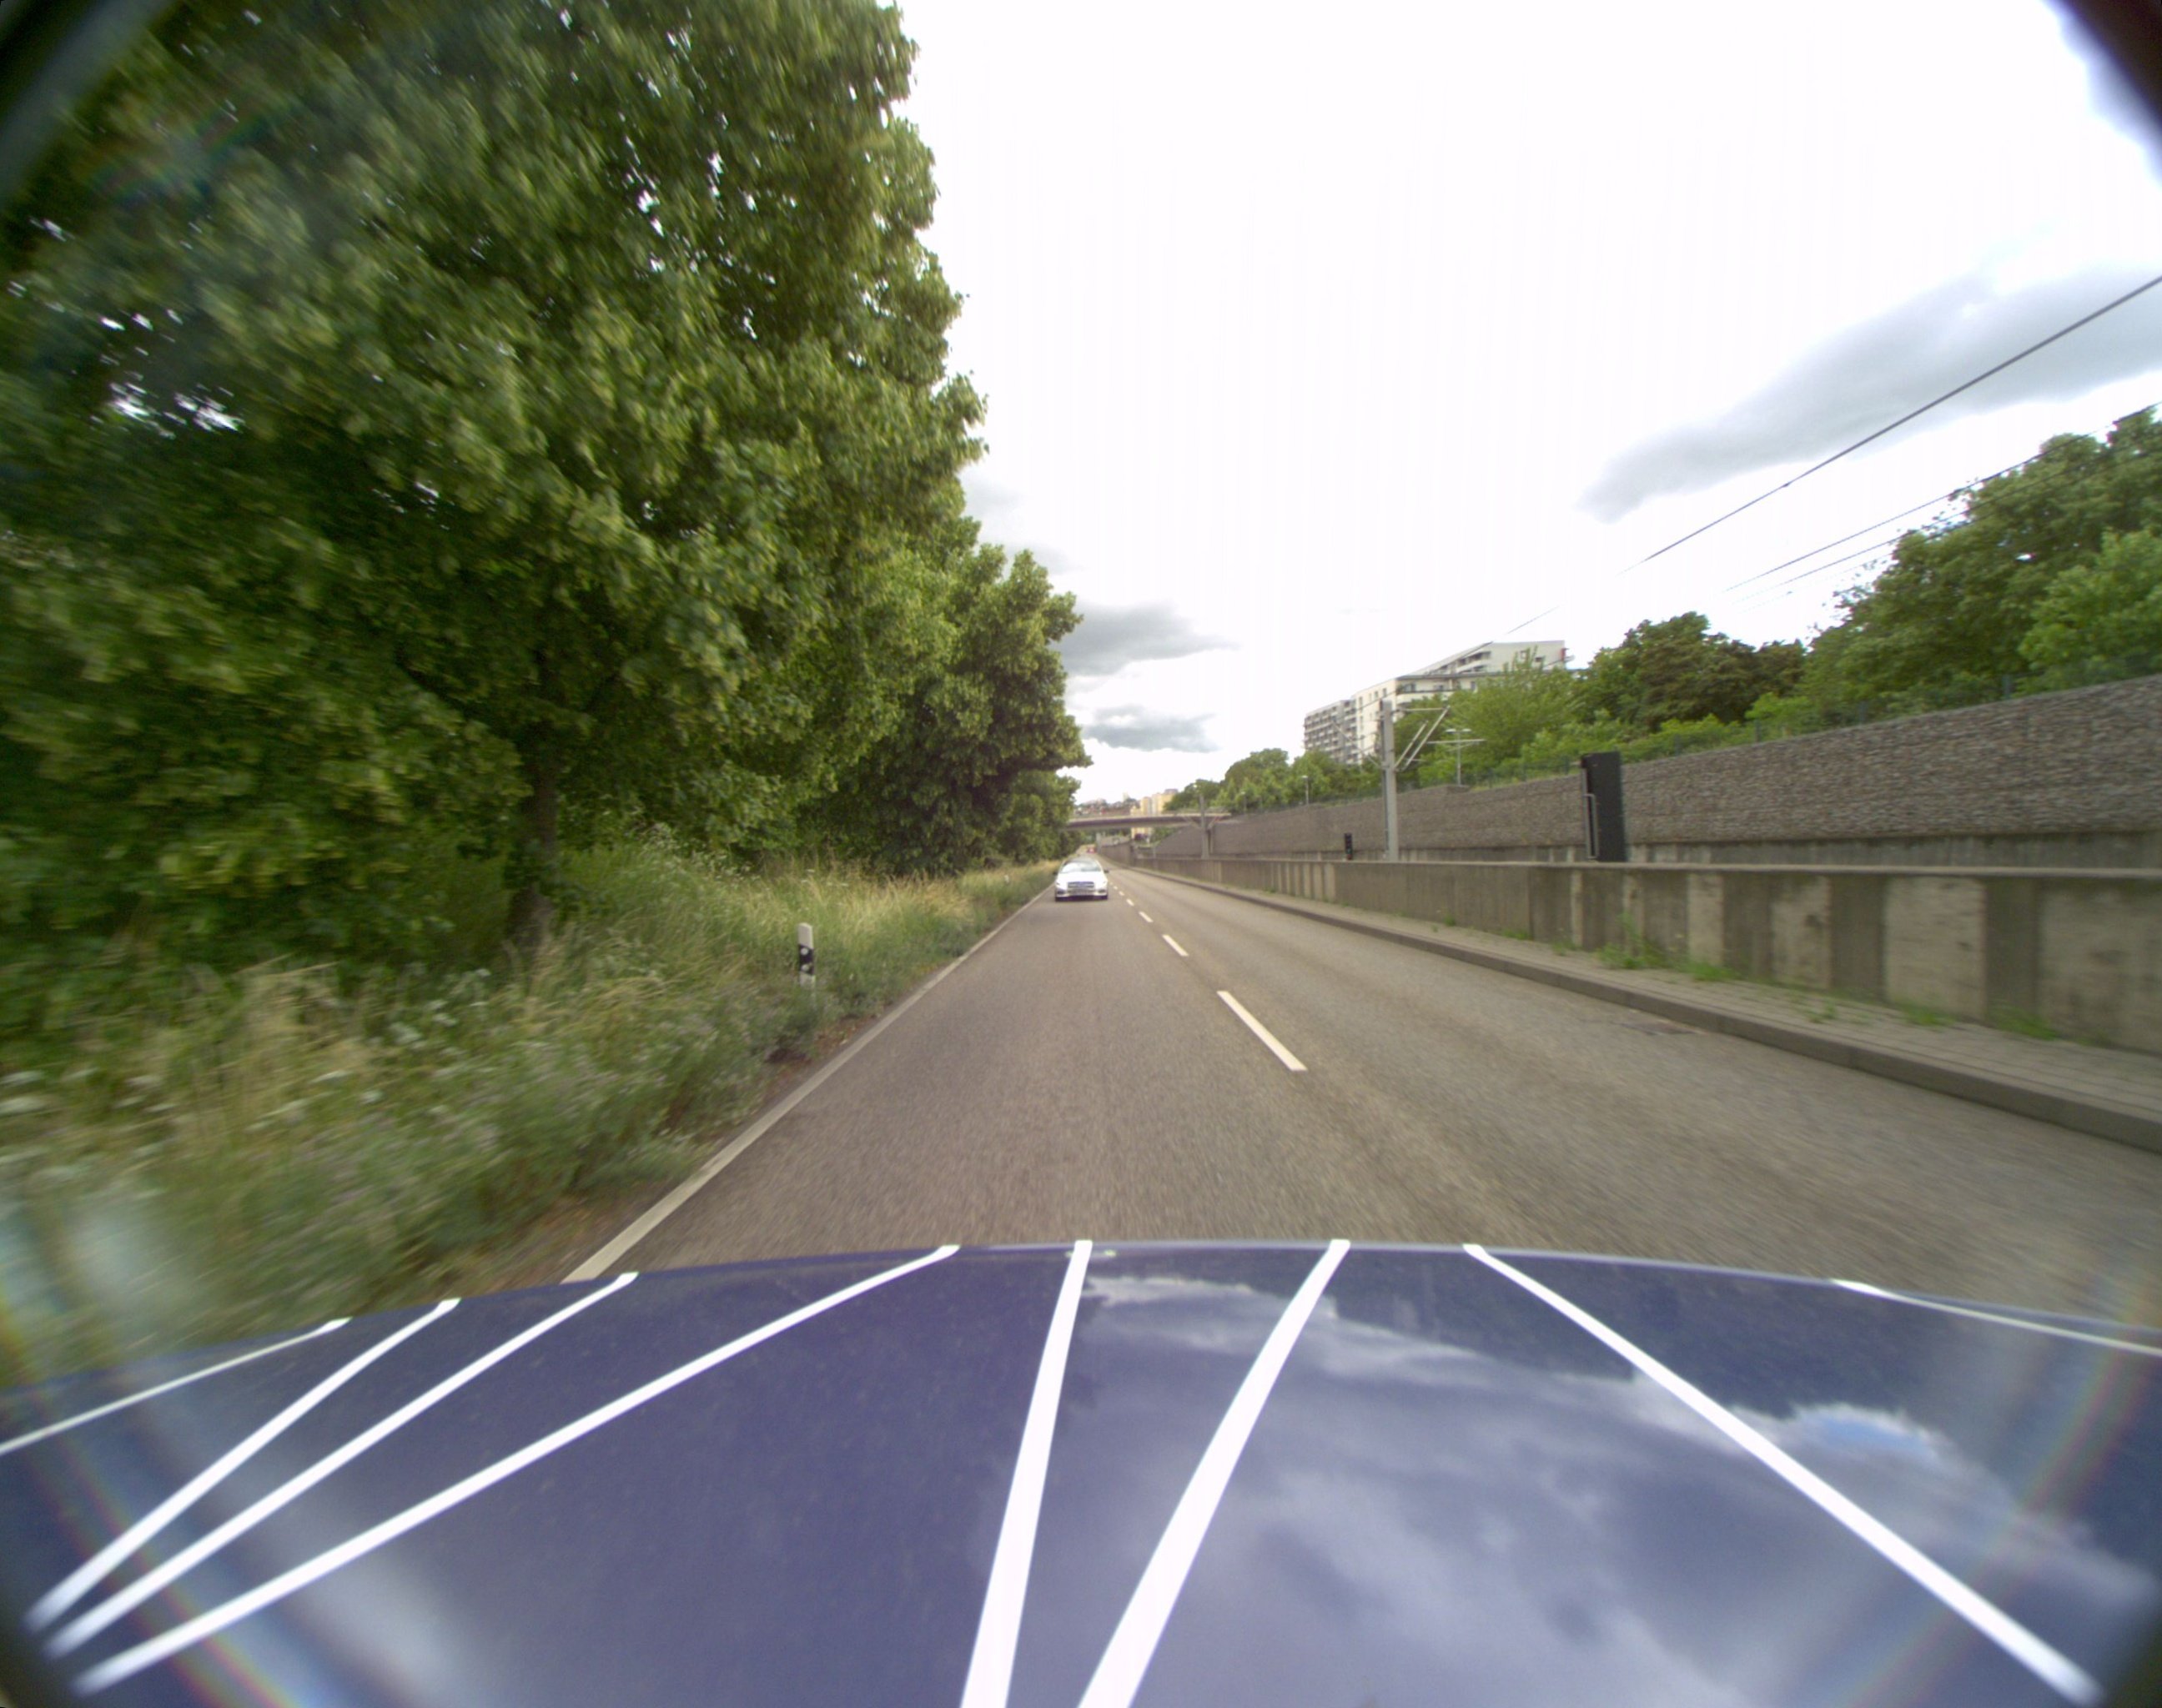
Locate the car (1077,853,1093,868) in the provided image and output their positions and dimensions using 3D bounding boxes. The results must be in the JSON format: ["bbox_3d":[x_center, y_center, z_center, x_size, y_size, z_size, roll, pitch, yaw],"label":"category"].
[{"bbox_3d":[0.528,0.776,96.431,1.998,1.746,4.000,-2,0,1],"label":"car"}]

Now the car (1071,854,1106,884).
[{"bbox_3d":[0.423,0.809,43.009,1.878,1.459,3.999,-2,1,1],"label":"car"}]

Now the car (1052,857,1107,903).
[{"bbox_3d":[-0.042,0.909,28.087,1.842,1.499,4.161,-1,0,1],"label":"car"}]
